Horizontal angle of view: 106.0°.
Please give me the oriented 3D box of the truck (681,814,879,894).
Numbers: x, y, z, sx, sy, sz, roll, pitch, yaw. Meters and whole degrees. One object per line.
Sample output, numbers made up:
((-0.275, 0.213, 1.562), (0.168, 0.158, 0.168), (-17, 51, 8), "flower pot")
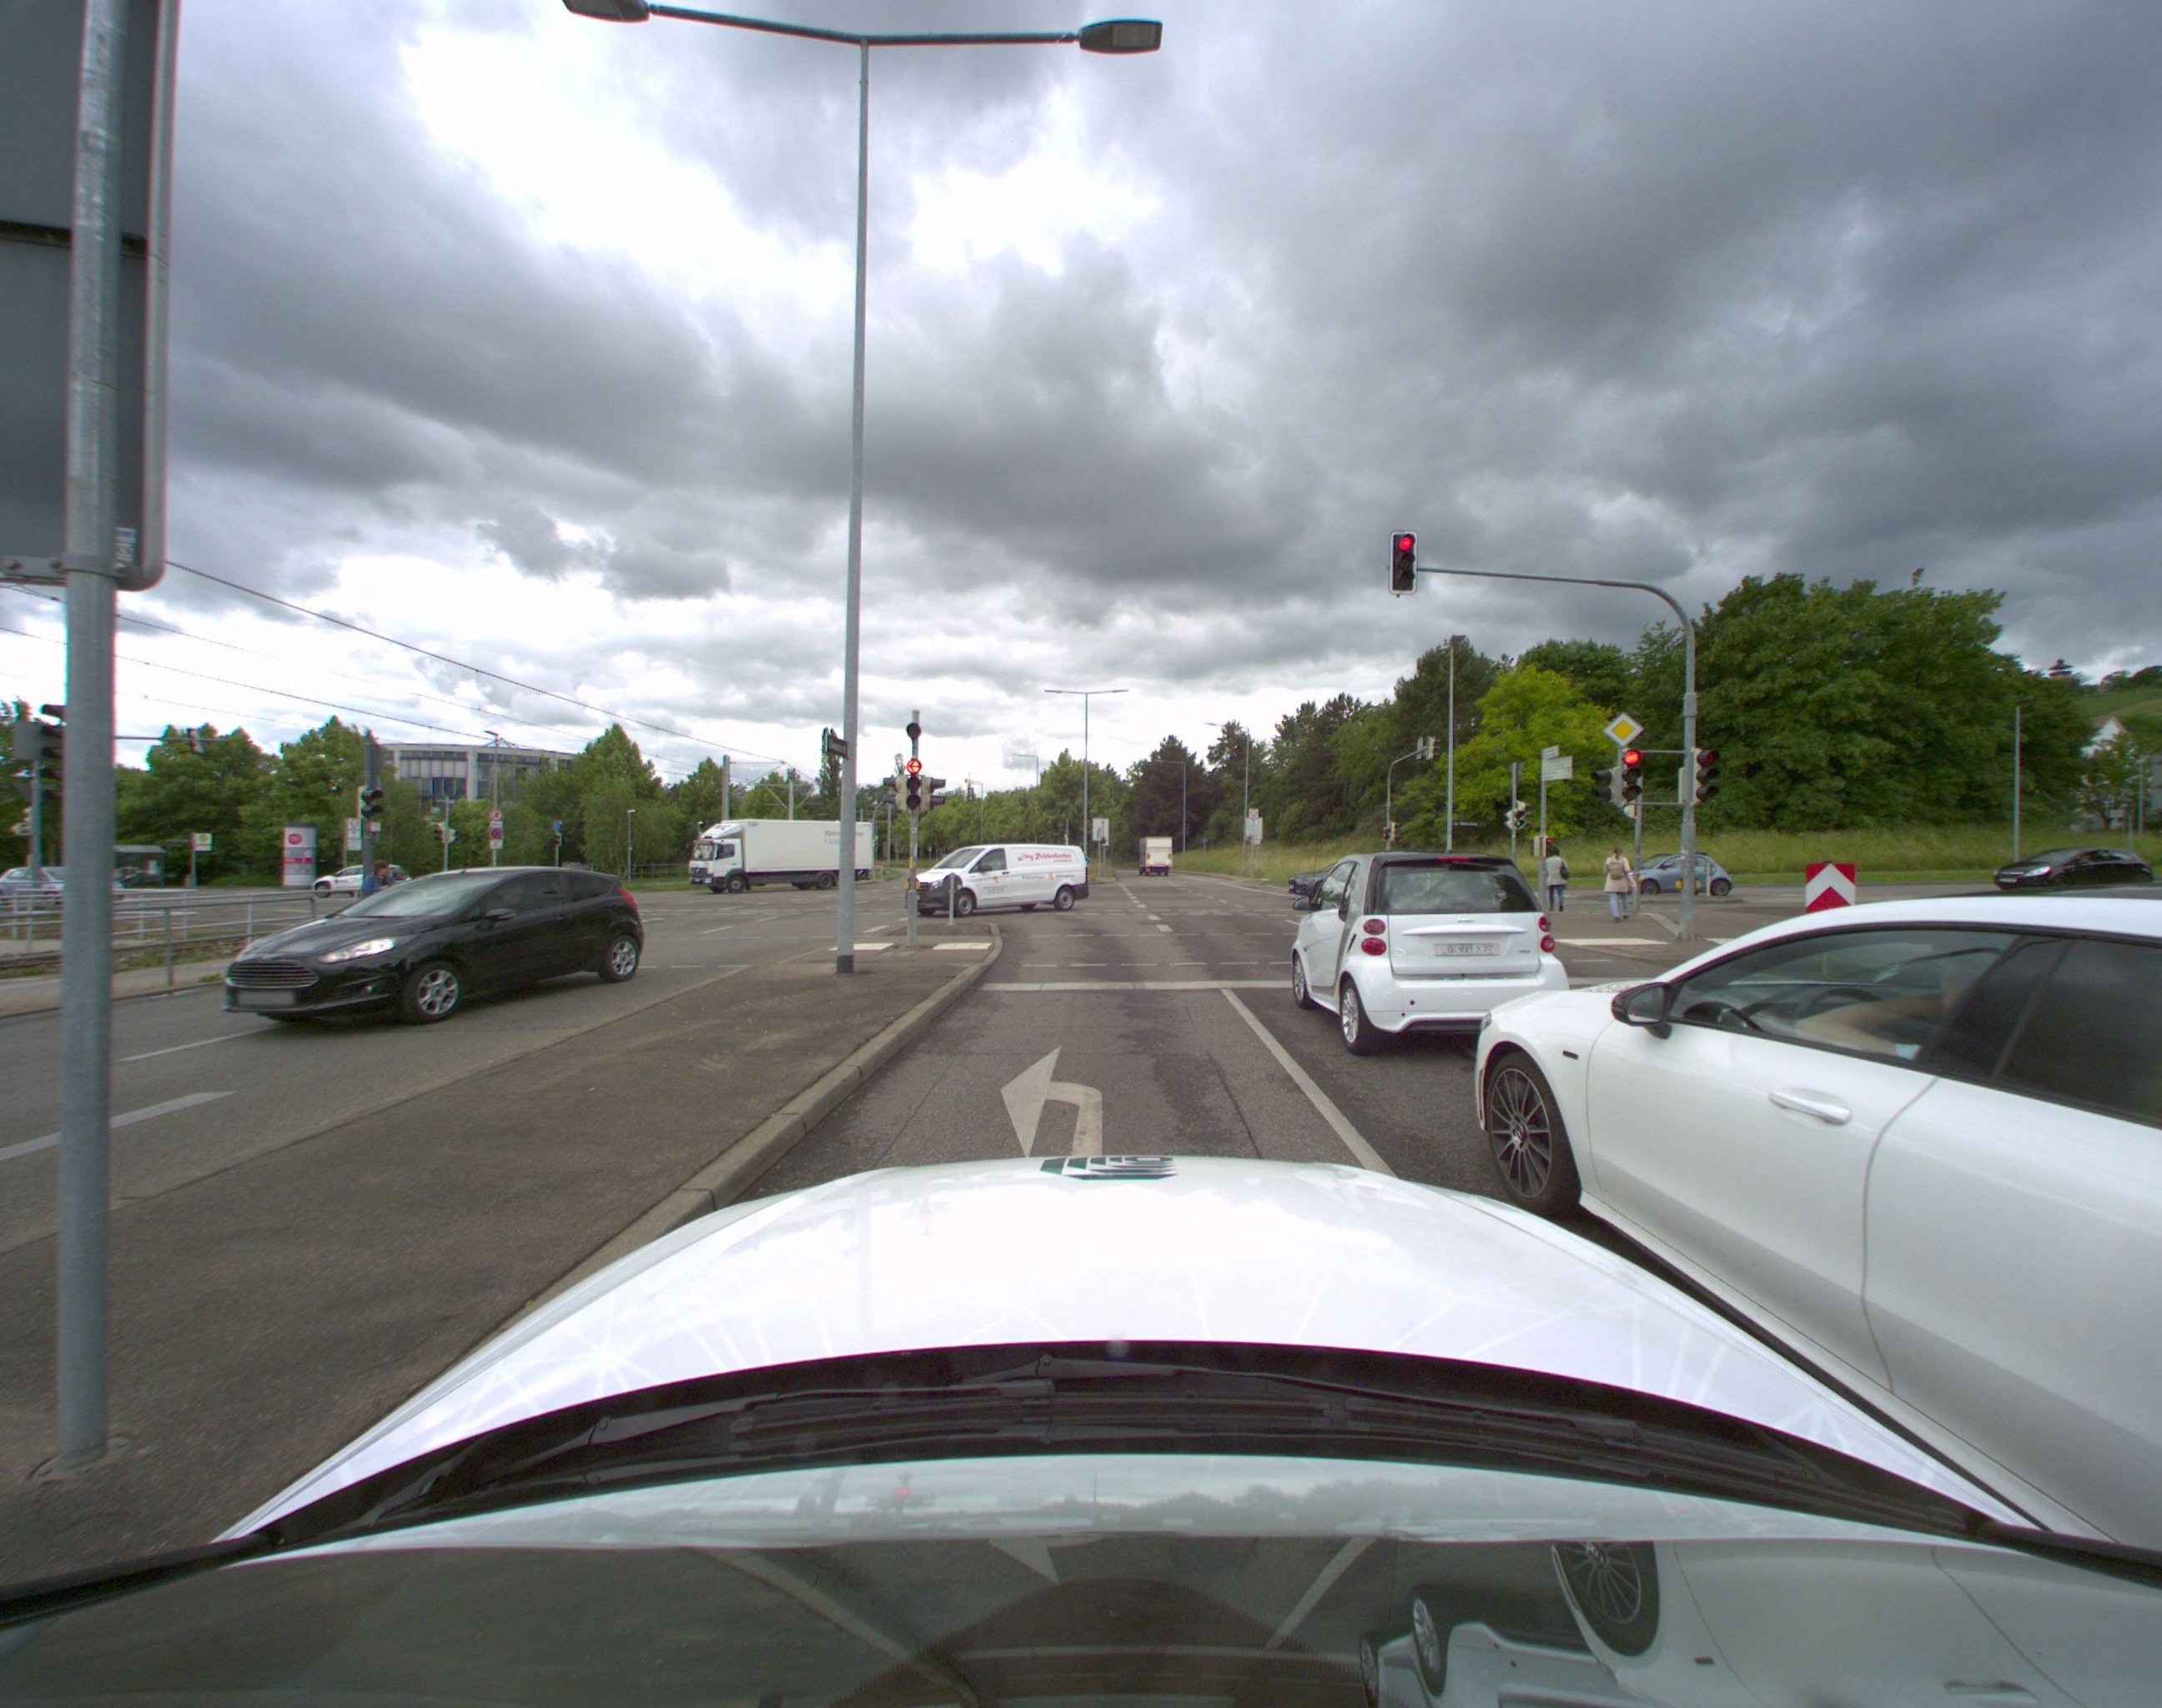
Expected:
((-15.152, 0.011, 41.935), (2.634, 3.649, 9.561), (0, 0, 40), "truck")

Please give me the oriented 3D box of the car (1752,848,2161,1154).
((5.771, 0.676, 4.098), (1.540, 1.404, 4.001), (-1, 0, 1), "car")

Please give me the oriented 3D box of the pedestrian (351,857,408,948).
((-12.685, 0.860, 14.728), (0.349, 1.556, 0.657), (1, 3, 36), "pedestrian")

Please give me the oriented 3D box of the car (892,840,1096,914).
((-2.264, 0.613, 22.432), (5.465, 1.815, 1.976), (1, -3, -42), "car")

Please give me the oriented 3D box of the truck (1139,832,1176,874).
((6.736, -0.089, 72.758), (2.674, 3.599, 7.264), (-1, 0, 1), "truck")

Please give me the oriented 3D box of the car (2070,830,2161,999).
((10.949, 0.611, 6.724), (1.687, 1.637, 4.266), (1, 1, 22), "car")

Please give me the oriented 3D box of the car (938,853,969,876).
((-10.484, 0.841, 67.199), (1.910, 1.727, 3.999), (-1, 1, -1), "car")

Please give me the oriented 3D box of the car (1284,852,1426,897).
((9.597, 0.705, 28.822), (4.467, 1.461, 2.004), (-1, 0, 7), "car")

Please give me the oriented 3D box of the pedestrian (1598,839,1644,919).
((11.269, 0.520, 17.009), (0.607, 1.634, 0.616), (0, 0, 11), "pedestrian")

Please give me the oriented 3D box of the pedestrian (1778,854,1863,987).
((8.272, 0.724, 9.122), (0.607, 1.453, 0.355), (0, 0, 10), "pedestrian")

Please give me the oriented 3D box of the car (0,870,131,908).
((-38.461, 1.312, 30.713), (3.963, 1.377, 1.522), (0, 0, 9), "car")

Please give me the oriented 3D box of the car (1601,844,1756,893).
((20.634, 0.493, 28.245), (3.968, 1.601, 1.840), (-1, 0, 4), "car")

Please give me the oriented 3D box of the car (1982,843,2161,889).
((33.249, 0.394, 27.257), (3.964, 1.449, 1.691), (-1, -1, 8), "car")

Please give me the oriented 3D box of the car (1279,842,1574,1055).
((2.798, 0.684, 7.178), (1.529, 1.504, 2.671), (-1, 0, 2), "car")

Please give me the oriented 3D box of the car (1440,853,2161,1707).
((2.618, 0.721, 1.963), (1.715, 1.422, 4.359), (-1, 0, 2), "car")

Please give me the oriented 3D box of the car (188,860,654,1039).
((-6.688, 0.838, 8.863), (1.624, 1.480, 3.787), (-1, 0, 9), "car")

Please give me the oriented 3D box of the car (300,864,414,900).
((-34.117, 1.311, 38.460), (3.720, 1.507, 1.782), (-1, 3, 1), "car")
